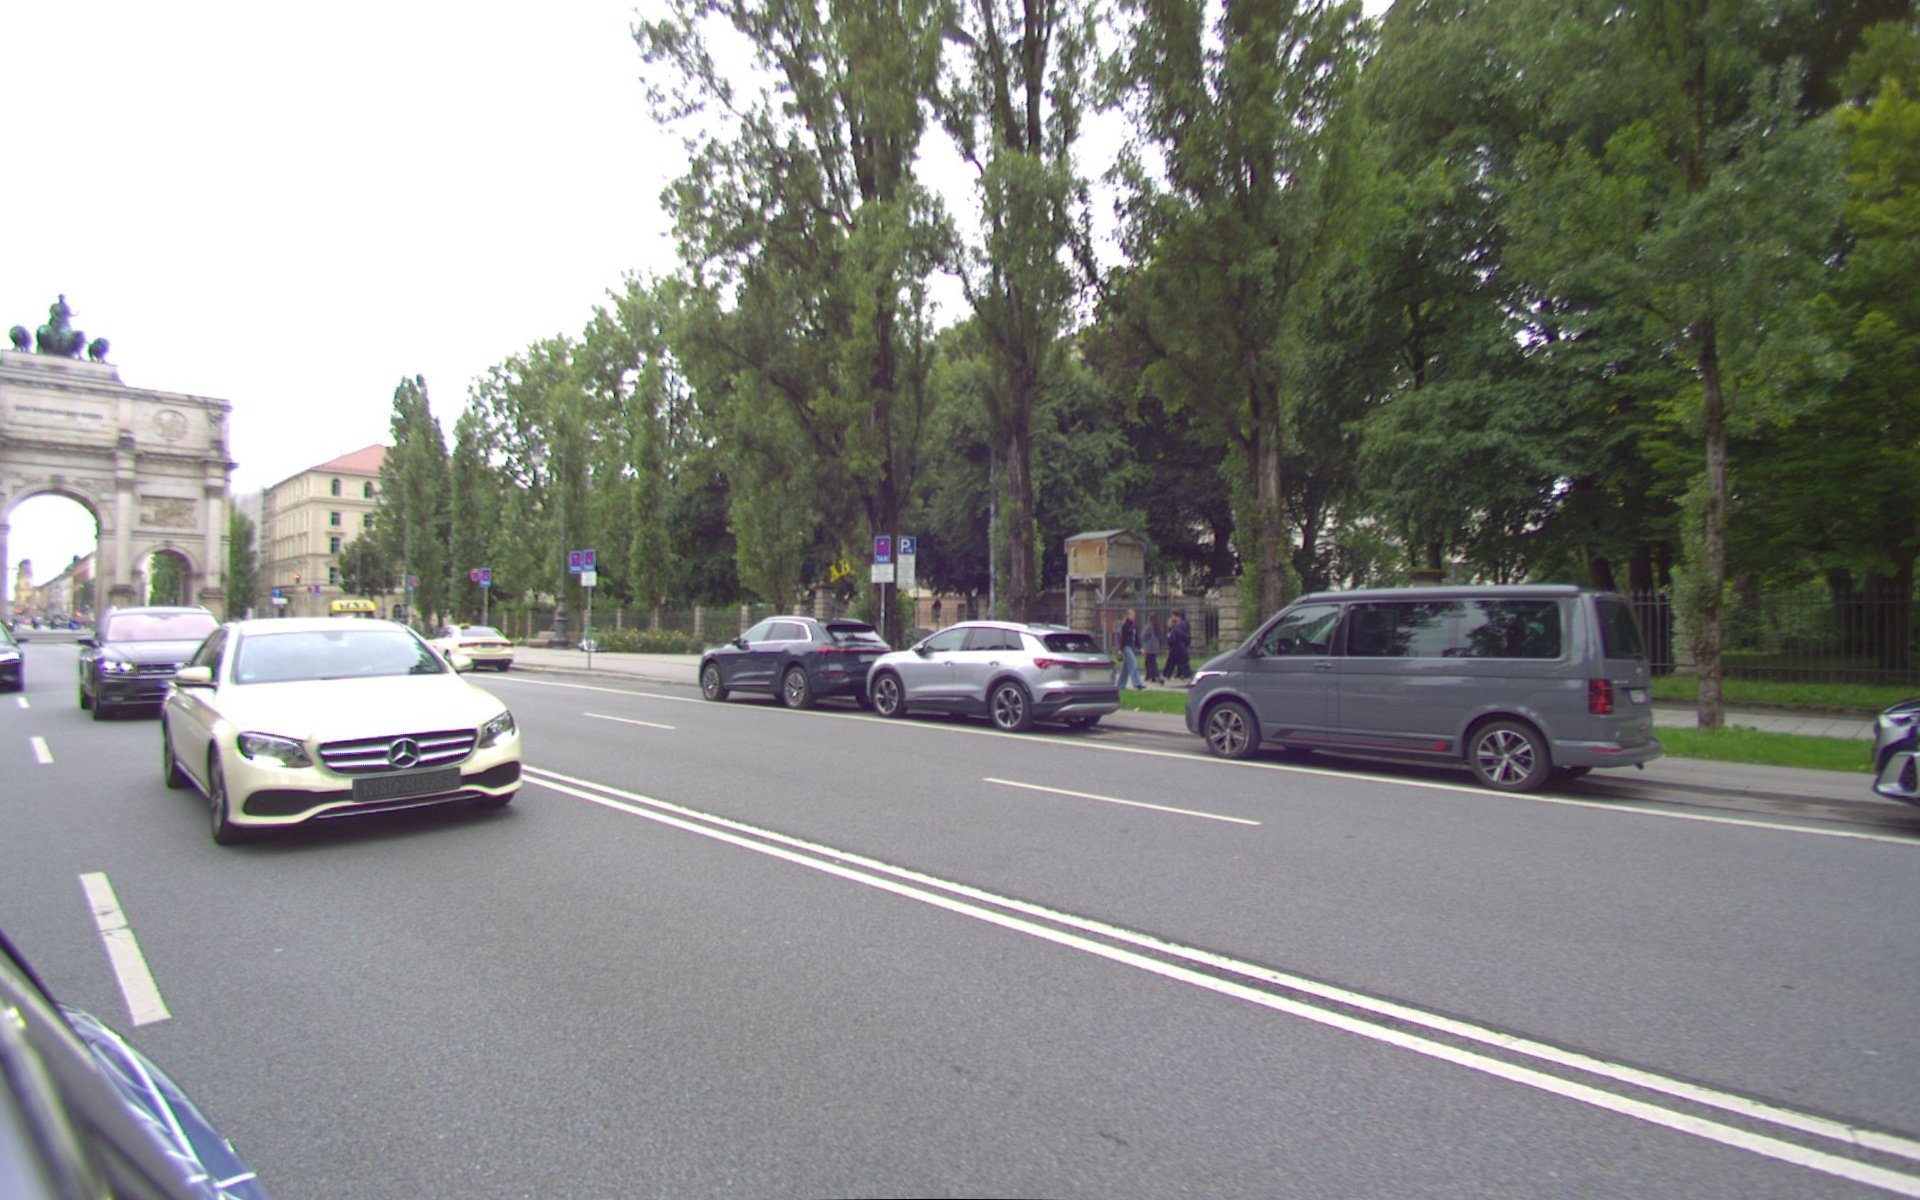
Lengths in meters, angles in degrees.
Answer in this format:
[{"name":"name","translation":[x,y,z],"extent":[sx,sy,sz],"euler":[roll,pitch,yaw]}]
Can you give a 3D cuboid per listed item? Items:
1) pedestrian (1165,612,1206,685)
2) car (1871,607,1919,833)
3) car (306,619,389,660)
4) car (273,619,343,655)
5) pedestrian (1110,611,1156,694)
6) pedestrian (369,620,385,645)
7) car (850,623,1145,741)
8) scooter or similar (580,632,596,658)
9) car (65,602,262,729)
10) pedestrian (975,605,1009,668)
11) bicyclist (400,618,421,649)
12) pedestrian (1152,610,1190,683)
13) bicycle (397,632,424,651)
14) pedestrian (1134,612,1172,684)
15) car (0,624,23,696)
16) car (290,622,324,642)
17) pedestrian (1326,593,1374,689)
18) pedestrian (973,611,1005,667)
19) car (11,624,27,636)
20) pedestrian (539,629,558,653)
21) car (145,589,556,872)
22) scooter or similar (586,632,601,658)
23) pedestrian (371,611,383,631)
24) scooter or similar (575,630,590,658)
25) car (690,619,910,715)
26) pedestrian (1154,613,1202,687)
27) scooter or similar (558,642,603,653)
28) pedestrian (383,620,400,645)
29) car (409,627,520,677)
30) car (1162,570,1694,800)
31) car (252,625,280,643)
[{"name":"pedestrian","translation":[5.514,1.176,24.724],"extent":[0.659,1.735,0.734],"euler":[1,-2,-43]},{"name":"car","translation":[9.141,0.883,6.299],"extent":[1.794,1.621,5.056],"euler":[5,-4,-44]},{"name":"car","translation":[-26.279,1.664,43.351],"extent":[1.915,1.637,4.968],"euler":[3,-2,-44]},{"name":"car","translation":[-31.022,1.739,48.105],"extent":[1.797,1.571,4.862],"euler":[4,-4,-44]},{"name":"pedestrian","translation":[3.722,1.116,21.783],"extent":[0.787,1.733,0.576],"euler":[-2,-2,44]},{"name":"pedestrian","translation":[-40.117,2.256,69.624],"extent":[0.833,1.691,0.969],"euler":[2,-2,-38]},{"name":"car","translation":[0.452,1.182,15.966],"extent":[1.868,1.596,4.657],"euler":[3,-3,-44]},{"name":"scooter or similar","translation":[-17.368,2.099,47.264],"extent":[0.240,1.210,1.123],"euler":[2,-2,-44]},{"name":"car","translation":[-12.331,0.882,15.554],"extent":[1.926,1.636,4.415],"euler":[-1,0,-44]},{"name":"pedestrian","translation":[0.872,0.983,27.591],"extent":[0.611,1.672,0.705],"euler":[1,-2,-43]},{"name":"bicyclist","translation":[-27.571,1.679,50.783],"extent":[0.862,1.510,0.686],"euler":[-2,-3,44]},{"name":"pedestrian","translation":[5.068,1.111,24.295],"extent":[0.502,1.720,0.723],"euler":[1,-2,-43]},{"name":"bicycle","translation":[-27.566,2.081,50.741],"extent":[1.736,0.946,0.699],"euler":[-2,-2,45]},{"name":"pedestrian","translation":[4.575,1.130,23.996],"extent":[0.542,1.682,0.674],"euler":[1,-2,-43]},{"name":"car","translation":[-20.427,1.199,20.500],"extent":[4.413,1.338,1.896],"euler":[-1,0,44]},{"name":"car","translation":[-63.392,3.091,98.217],"extent":[1.975,1.869,4.996],"euler":[3,-2,-42]},{"name":"pedestrian","translation":[7.765,0.810,20.131],"extent":[0.502,1.874,0.723],"euler":[1,-2,-43]},{"name":"pedestrian","translation":[0.842,1.137,29.478],"extent":[0.611,1.608,0.705],"euler":[1,-2,-43]},{"name":"car","translation":[-163.777,5.186,176.133],"extent":[1.970,2.029,4.397],"euler":[2,-2,-44]},{"name":"pedestrian","translation":[-23.781,2.372,58.507],"extent":[0.834,1.347,0.573],"euler":[-1,-2,19]},{"name":"car","translation":[-5.089,0.755,8.088],"extent":[1.892,1.587,4.694],"euler":[-1,0,-43]},{"name":"scooter or similar","translation":[-17.179,2.101,47.444],"extent":[0.240,1.210,1.123],"euler":[2,-2,-44]},{"name":"pedestrian","translation":[-58.376,2.121,101.320],"extent":[0.748,2.029,0.792],"euler":[0,-2,11]},{"name":"scooter or similar","translation":[-17.562,2.044,47.080],"extent":[0.255,1.251,1.142],"euler":[2,-2,-43]},{"name":"car","translation":[-3.154,1.210,19.226],"extent":[1.761,1.608,4.616],"euler":[4,-4,-44]},{"name":"pedestrian","translation":[4.897,1.111,22.781],"extent":[0.701,1.630,0.791],"euler":[1,-2,-44]},{"name":"scooter or similar","translation":[-19.142,2.394,51.074],"extent":[1.316,0.522,2.233],"euler":[0,-2,5]},{"name":"pedestrian","translation":[-39.287,2.256,69.942],"extent":[0.833,1.691,0.969],"euler":[2,-2,-38]},{"name":"car","translation":[-16.109,1.653,32.789],"extent":[1.908,1.509,4.794],"euler":[2,-3,-43]},{"name":"car","translation":[4.865,0.824,11.139],"extent":[1.970,1.971,4.940],"euler":[4,-4,-44]},{"name":"car","translation":[-65.311,3.192,95.211],"extent":[1.759,1.684,4.007],"euler":[2,-2,-40]}]
